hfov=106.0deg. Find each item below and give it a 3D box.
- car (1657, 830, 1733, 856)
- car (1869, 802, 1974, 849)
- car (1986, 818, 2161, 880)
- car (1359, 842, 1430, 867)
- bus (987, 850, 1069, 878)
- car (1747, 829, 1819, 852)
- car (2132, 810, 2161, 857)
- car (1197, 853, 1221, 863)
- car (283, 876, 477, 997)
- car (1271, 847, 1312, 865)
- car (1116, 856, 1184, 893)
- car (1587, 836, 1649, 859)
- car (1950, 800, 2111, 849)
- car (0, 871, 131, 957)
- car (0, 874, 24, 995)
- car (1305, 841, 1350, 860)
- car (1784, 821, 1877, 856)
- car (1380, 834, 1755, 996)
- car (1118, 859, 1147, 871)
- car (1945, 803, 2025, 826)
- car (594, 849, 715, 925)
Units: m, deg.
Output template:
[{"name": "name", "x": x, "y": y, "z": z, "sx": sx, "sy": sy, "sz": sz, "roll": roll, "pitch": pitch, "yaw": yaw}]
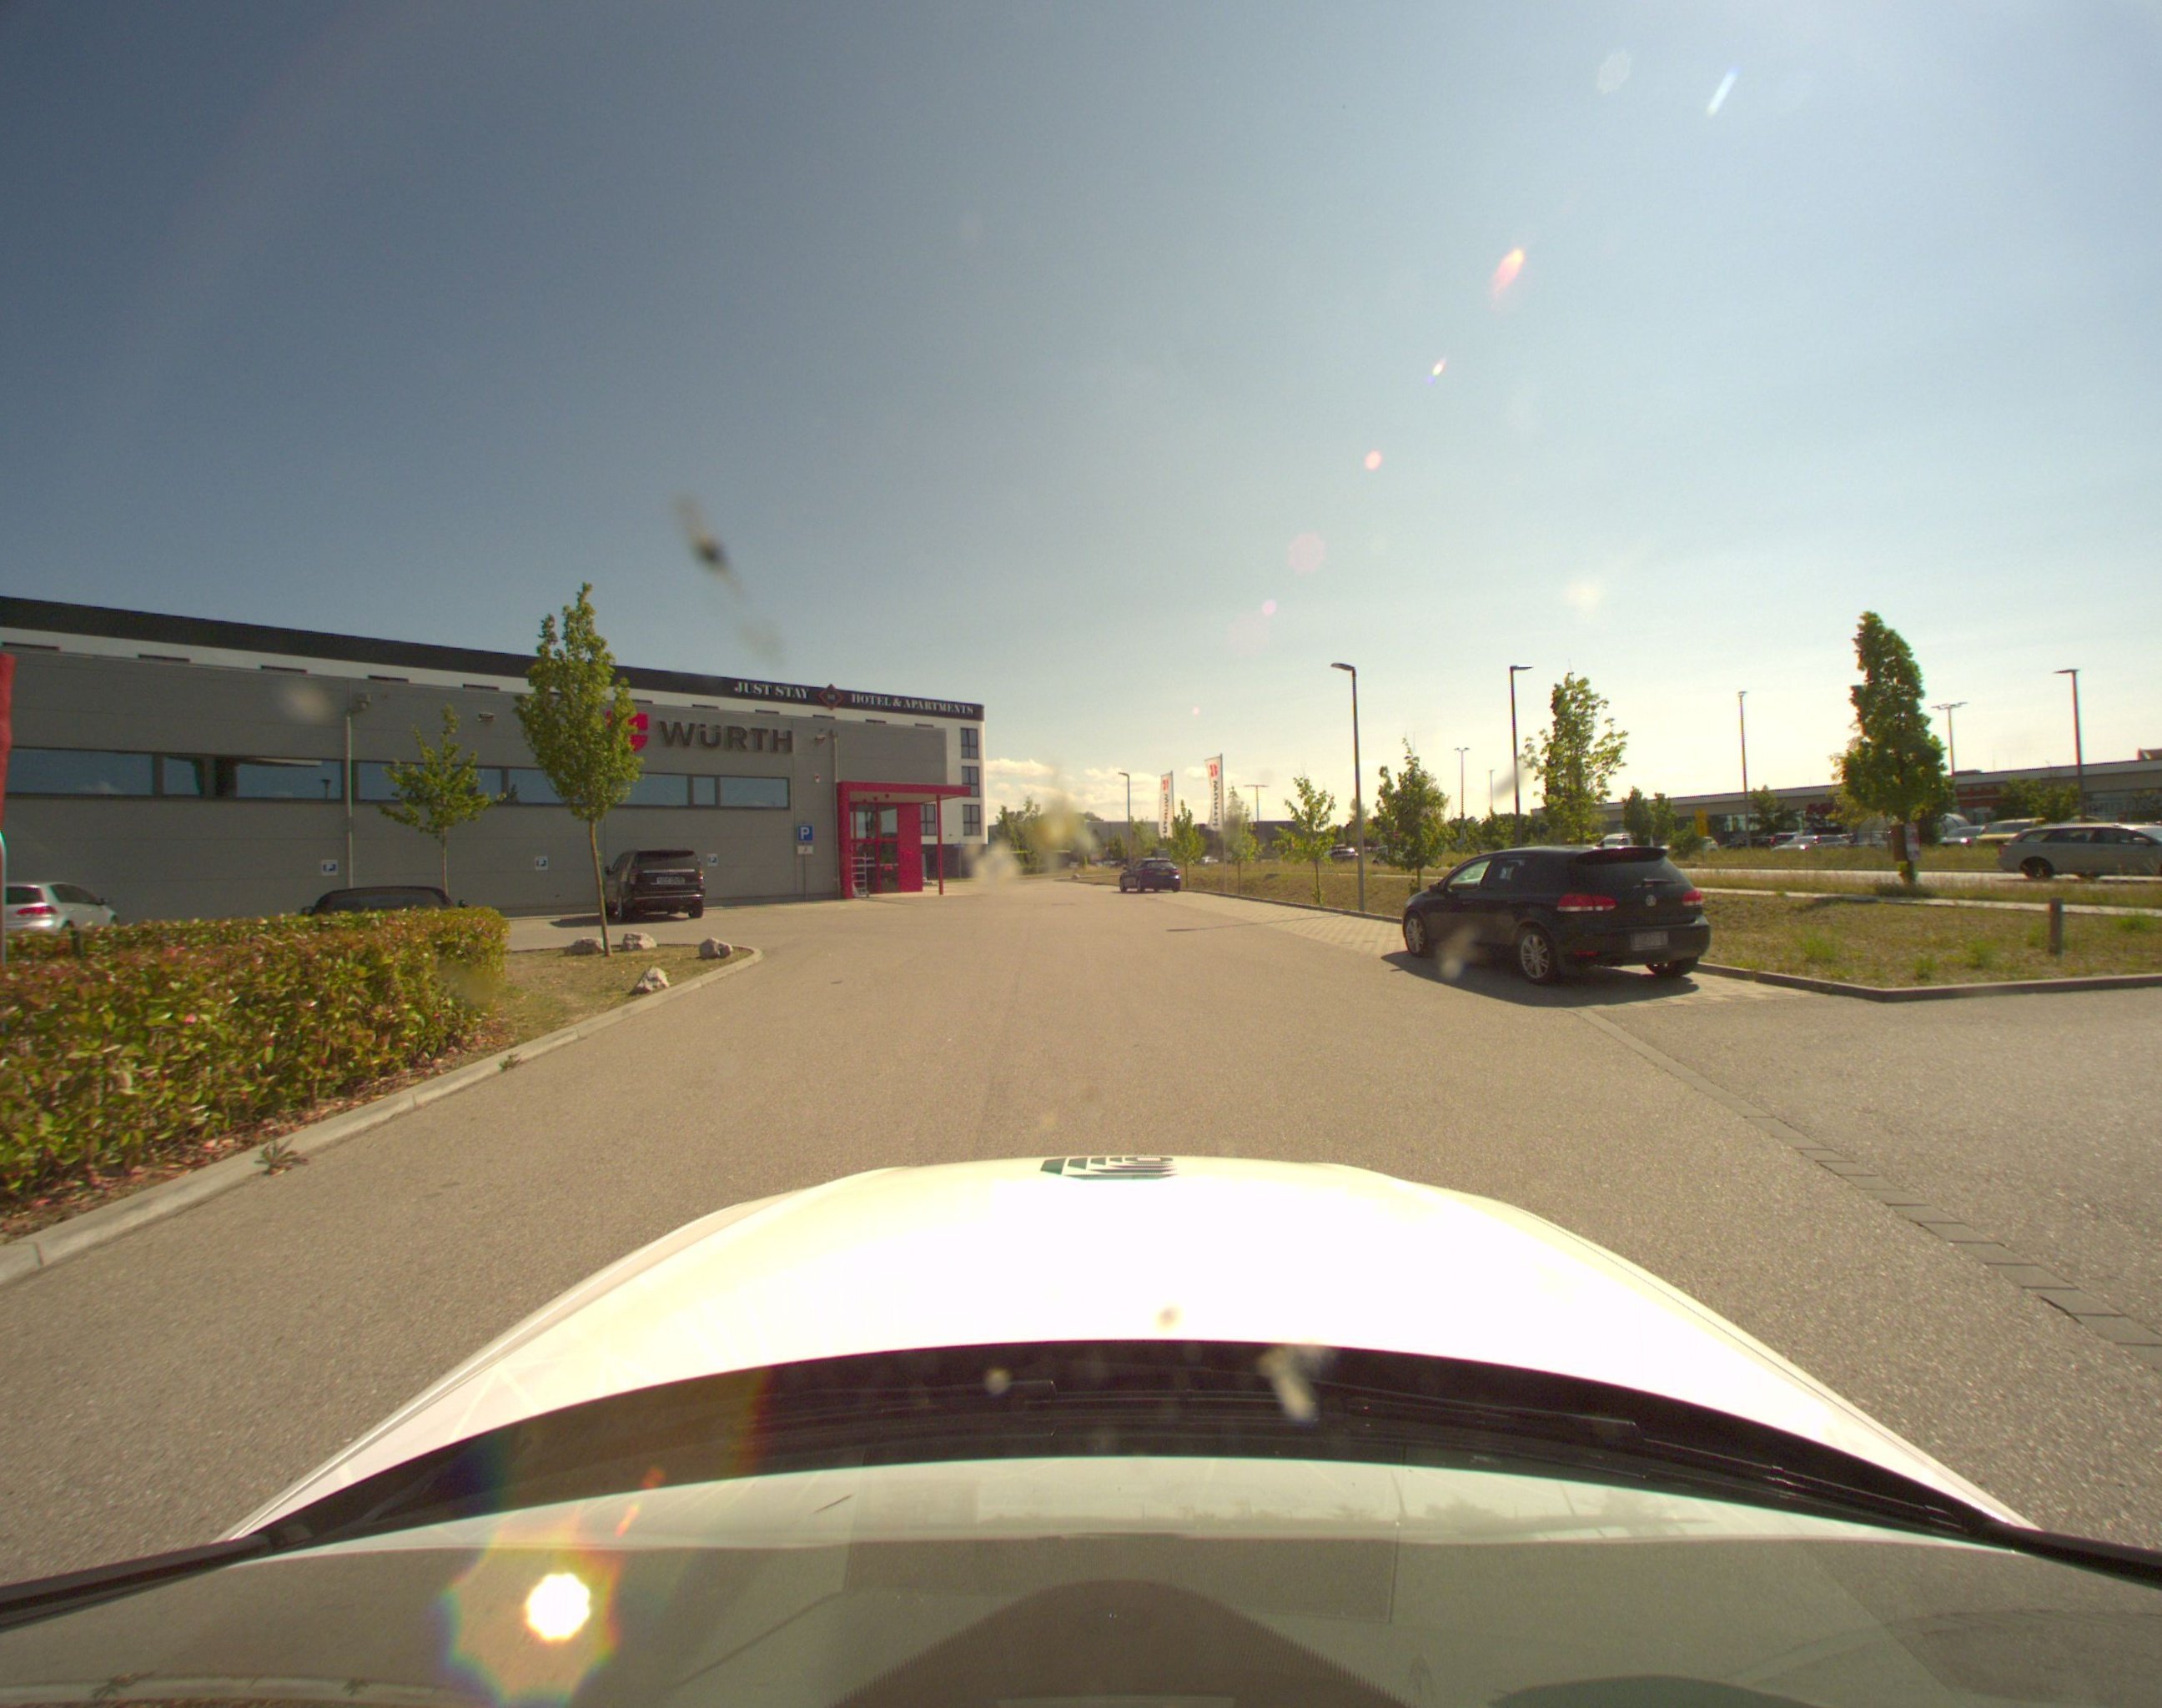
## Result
[{"name": "car", "x": 43.446, "y": -0.748, "z": 57.633, "sx": 4.417, "sy": 1.726, "sz": 1.990, "roll": -2, "pitch": 0, "yaw": -15}, {"name": "car", "x": 46.413, "y": -1.551, "z": 44.972, "sx": 5.074, "sy": 2.455, "sz": 1.988, "roll": -2, "pitch": 0, "yaw": -18}, {"name": "car", "x": 26.596, "y": -0.142, "z": 20.692, "sx": 1.871, "sy": 1.483, "sz": 4.592, "roll": -2, "pitch": 0, "yaw": -7}, {"name": "car", "x": 19.851, "y": 0.026, "z": 51.699, "sx": 1.882, "sy": 1.483, "sz": 3.966, "roll": -2, "pitch": 0, "yaw": -26}, {"name": "bus", "x": -7.306, "y": 1.364, "z": 113.580, "sx": 11.269, "sy": 3.557, "sz": 2.554, "roll": -2, "pitch": 0, "yaw": -25}, {"name": "car", "x": 53.347, "y": -1.019, "z": 61.947, "sx": 1.907, "sy": 1.618, "sz": 3.657, "roll": -2, "pitch": 0, "yaw": -20}, {"name": "car", "x": 48.972, "y": -0.948, "z": 35.662, "sx": 5.177, "sy": 2.013, "sz": 1.988, "roll": -2, "pitch": 0, "yaw": -18}, {"name": "car", "x": 22.603, "y": 0.647, "z": 144.284, "sx": 3.975, "sy": 1.658, "sz": 1.886, "roll": -2, "pitch": 0, "yaw": -35}, {"name": "car", "x": -10.328, "y": 1.067, "z": 12.188, "sx": 1.878, "sy": 1.362, "sz": 4.326, "roll": -2, "pitch": 0, "yaw": -39}, {"name": "car", "x": 20.258, "y": 0.209, "z": 78.334, "sx": 3.675, "sy": 1.598, "sz": 1.699, "roll": -2, "pitch": 0, "yaw": -27}, {"name": "car", "x": 2.832, "y": 0.834, "z": 34.185, "sx": 1.701, "sy": 1.406, "sz": 3.878, "roll": -1, "pitch": 0, "yaw": -14}, {"name": "car", "x": 40.858, "y": -0.516, "z": 61.992, "sx": 3.656, "sy": 1.618, "sz": 1.835, "roll": -2, "pitch": 0, "yaw": -9}, {"name": "car", "x": 47.713, "y": -1.454, "z": 40.973, "sx": 6.301, "sy": 2.237, "sz": 2.803, "roll": -2, "pitch": 0, "yaw": -15}, {"name": "car", "x": -21.927, "y": 1.189, "z": 16.983, "sx": 1.964, "sy": 1.586, "sz": 4.326, "roll": -2, "pitch": 0, "yaw": -39}, {"name": "car", "x": -13.594, "y": 1.027, "z": 8.416, "sx": 1.962, "sy": 1.530, "sz": 4.330, "roll": -2, "pitch": 0, "yaw": -34}, {"name": "car", "x": 21.959, "y": -0.312, "z": 72.610, "sx": 3.675, "sy": 1.598, "sz": 1.699, "roll": -2, "pitch": 0, "yaw": -27}, {"name": "car", "x": 46.394, "y": -0.939, "z": 50.412, "sx": 5.074, "sy": 2.013, "sz": 1.988, "roll": -2, "pitch": 0, "yaw": -18}, {"name": "car", "x": 5.589, "y": 0.604, "z": 10.100, "sx": 1.834, "sy": 1.477, "sz": 4.110, "roll": -3, "pitch": 0, "yaw": -7}, {"name": "car", "x": 6.030, "y": 1.301, "z": 96.085, "sx": 1.658, "sy": 1.385, "sz": 3.476, "roll": -2, "pitch": 0, "yaw": -32}, {"name": "car", "x": 62.682, "y": -2.739, "z": 56.529, "sx": 1.432, "sy": 1.400, "sz": 3.461, "roll": -2, "pitch": 0, "yaw": -20}, {"name": "car", "x": -12.113, "y": 0.856, "z": 22.943, "sx": 2.088, "sy": 1.880, "sz": 4.822, "roll": -2, "pitch": 0, "yaw": -39}]
